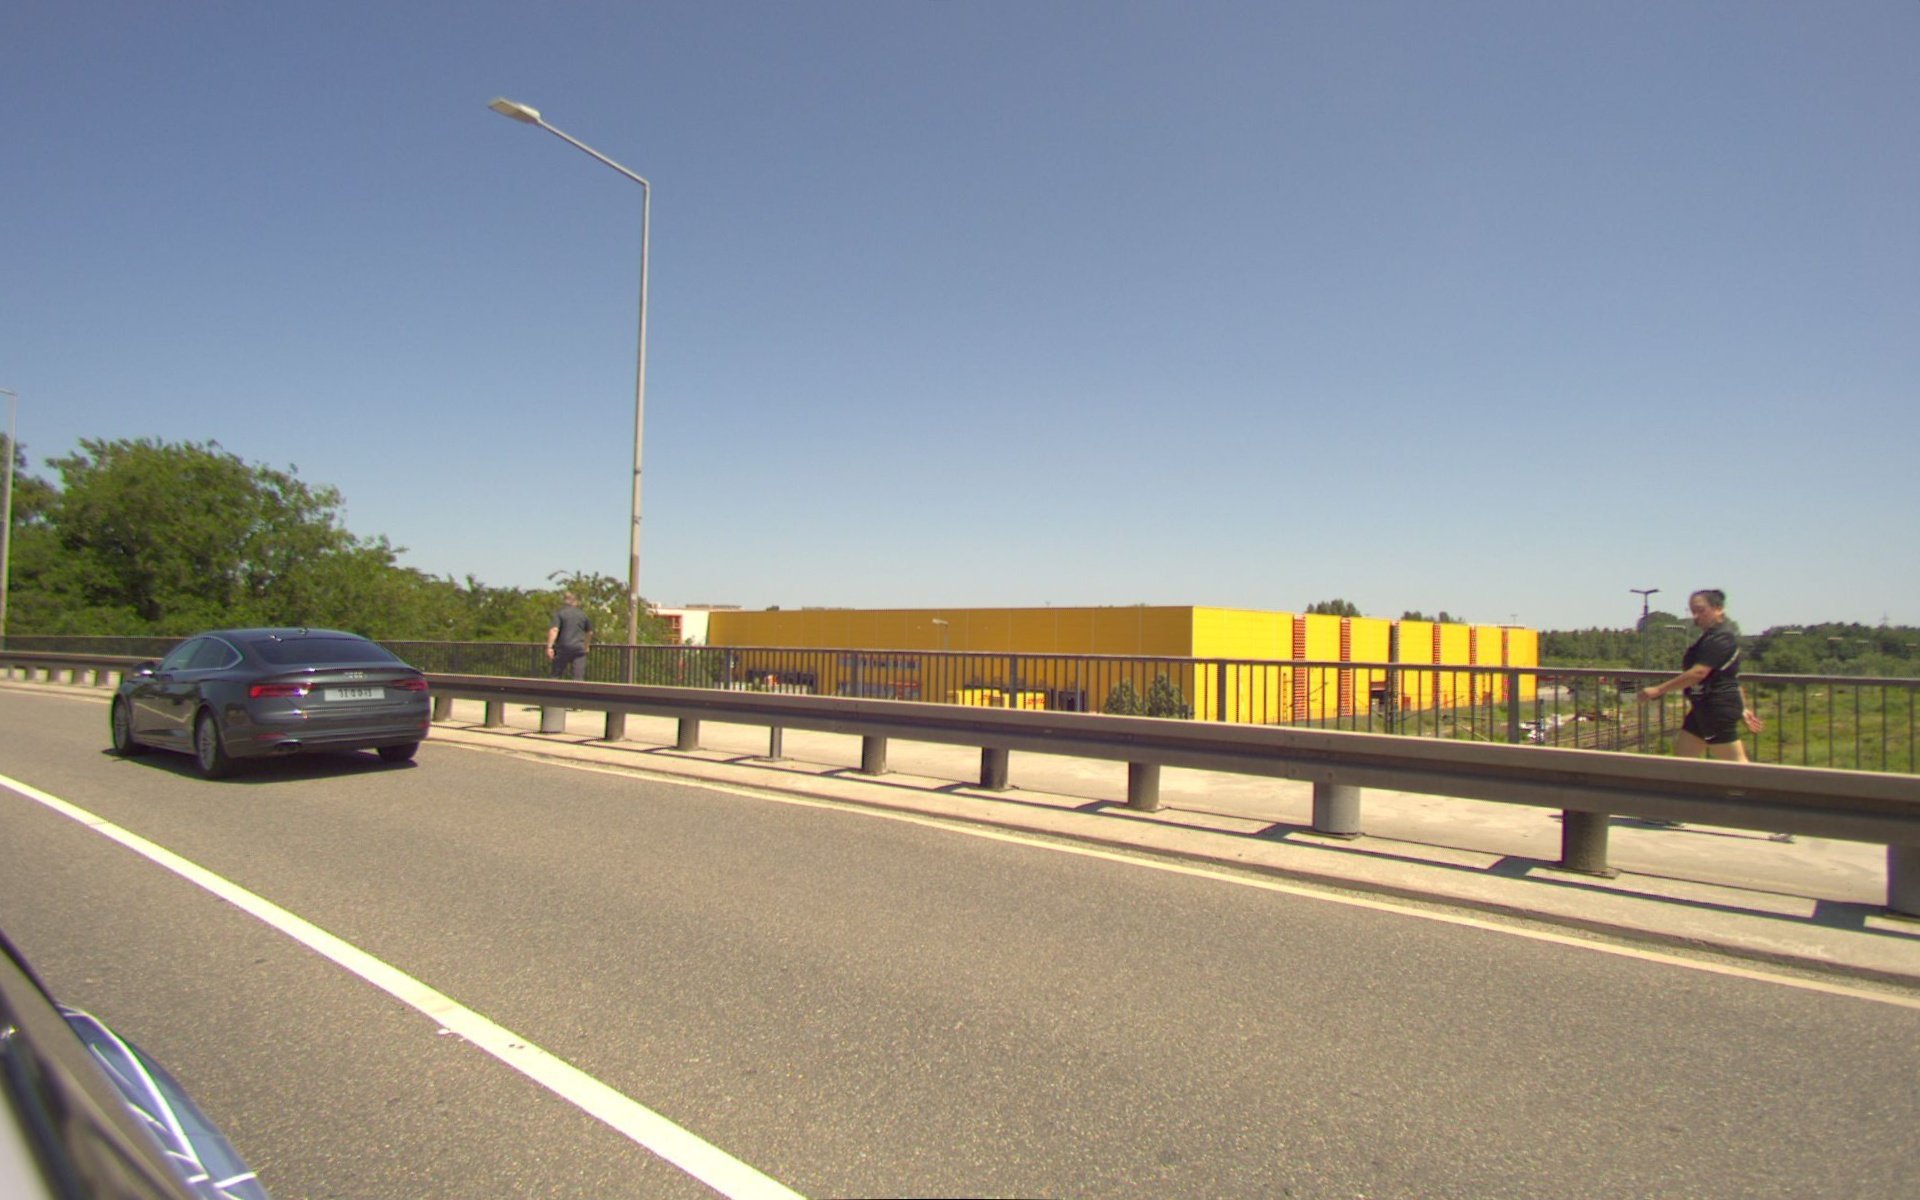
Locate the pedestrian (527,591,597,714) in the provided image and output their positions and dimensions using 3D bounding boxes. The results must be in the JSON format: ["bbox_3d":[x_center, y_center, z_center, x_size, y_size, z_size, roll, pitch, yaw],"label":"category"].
[{"bbox_3d":[-5.975,0.764,15.207,0.810,1.796,0.633,-1,0,34],"label":"pedestrian"}]

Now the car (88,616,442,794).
[{"bbox_3d":[-7.310,0.907,10.464,4.570,1.426,1.772,0,-2,39],"label":"car"}]

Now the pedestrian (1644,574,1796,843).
[{"bbox_3d":[4.825,0.645,6.428,0.694,1.573,0.706,-1,-2,43],"label":"pedestrian"}]
